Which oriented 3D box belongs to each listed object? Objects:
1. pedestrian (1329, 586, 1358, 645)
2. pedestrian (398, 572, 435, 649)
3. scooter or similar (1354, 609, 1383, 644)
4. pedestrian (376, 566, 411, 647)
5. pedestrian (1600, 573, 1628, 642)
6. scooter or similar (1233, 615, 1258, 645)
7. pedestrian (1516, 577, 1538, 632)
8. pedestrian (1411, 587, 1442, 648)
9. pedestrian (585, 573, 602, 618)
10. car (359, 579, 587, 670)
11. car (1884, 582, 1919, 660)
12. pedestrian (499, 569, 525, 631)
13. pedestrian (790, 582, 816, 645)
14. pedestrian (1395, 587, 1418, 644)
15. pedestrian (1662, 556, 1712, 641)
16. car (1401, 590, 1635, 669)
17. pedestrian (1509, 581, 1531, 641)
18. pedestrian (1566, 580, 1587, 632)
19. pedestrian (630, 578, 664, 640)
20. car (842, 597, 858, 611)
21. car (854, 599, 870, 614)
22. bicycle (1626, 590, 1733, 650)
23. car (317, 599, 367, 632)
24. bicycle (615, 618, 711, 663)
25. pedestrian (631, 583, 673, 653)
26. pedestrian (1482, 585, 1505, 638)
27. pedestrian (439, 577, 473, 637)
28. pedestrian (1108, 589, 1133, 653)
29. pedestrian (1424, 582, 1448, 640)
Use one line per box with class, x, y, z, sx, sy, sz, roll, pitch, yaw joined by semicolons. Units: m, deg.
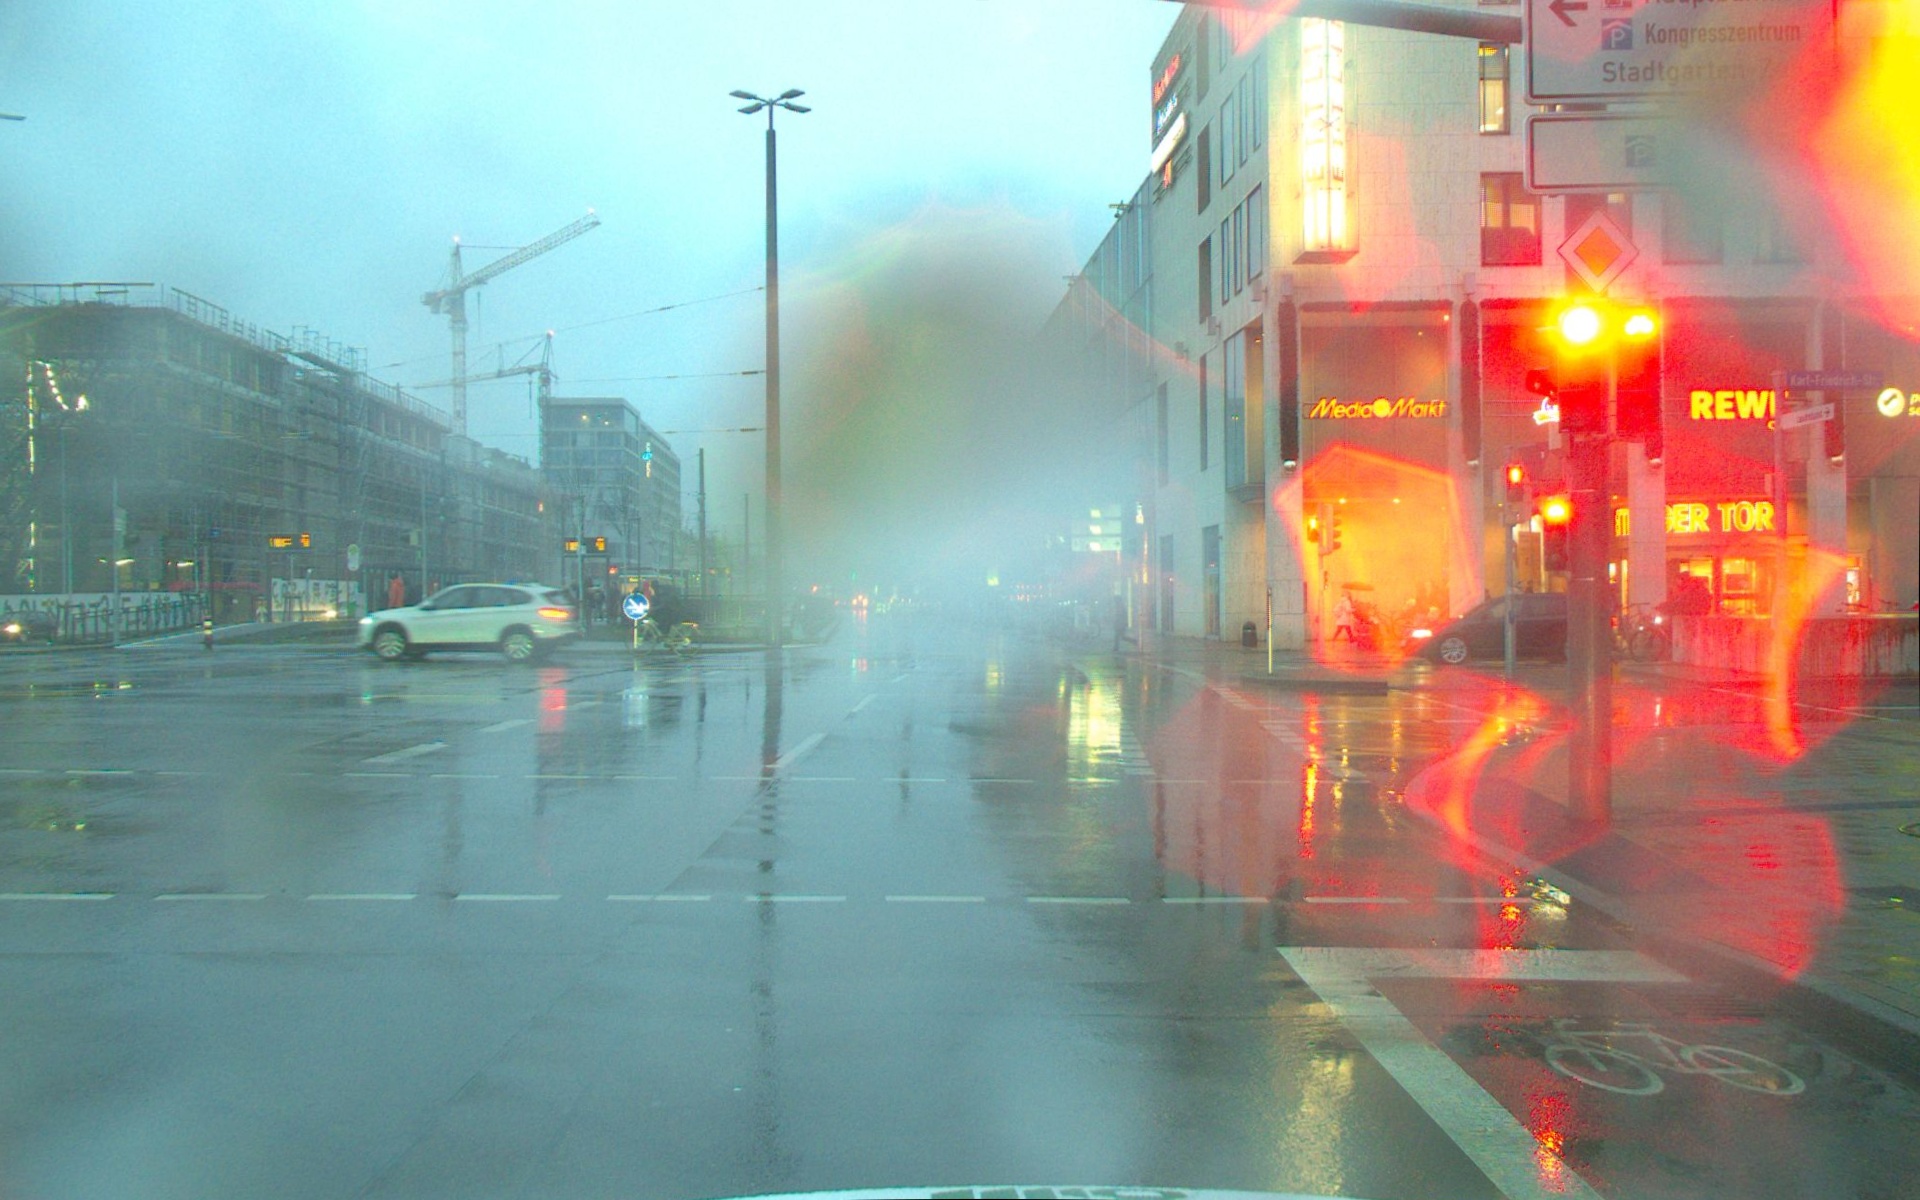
pedestrian;11.078;0.450;47.841;0.726;1.696;0.400;-1;0;-1
pedestrian;-14.593;0.269;44.424;0.770;2.049;0.604;-1;0;-39
scooter or similar;11.813;0.759;47.848;0.726;1.011;0.400;-1;0;-1
pedestrian;-14.892;0.169;43.494;0.682;2.124;0.604;0;0;-41
pedestrian;16.479;0.189;41.673;0.526;1.715;0.547;-1;0;37
scooter or similar;8.874;0.935;51.399;0.726;0.932;0.400;-1;0;0
pedestrian;18.205;0.140;53.108;0.526;1.748;0.500;-1;0;37
pedestrian;13.827;0.519;49.026;0.688;1.791;0.667;-1;0;-1
pedestrian;-14.595;-0.164;65.861;0.648;1.776;0.734;-1;0;-11
car;-10.090;0.483;34.483;4.216;1.792;1.706;-1;0;-2
car;21.501;0.409;34.528;3.498;1.610;1.675;-1;-1;-3
pedestrian;-13.087;-0.002;48.311;0.607;1.776;0.612;-1;0;-6
pedestrian;-4.503;0.378;47.440;0.688;1.791;0.652;-1;0;-1
pedestrian;13.619;0.471;50.467;0.526;1.748;0.500;-1;0;37
pedestrian;13.980;-0.027;31.810;0.764;1.623;0.613;-1;0;14
car;11.806;0.618;35.215;4.440;1.601;1.798;-1;0;7
pedestrian;16.803;0.320;49.599;0.501;1.791;0.374;-1;0;-1
pedestrian;20.820;0.203;55.875;0.526;1.748;0.500;-1;0;37
pedestrian;-8.762;0.257;46.269;0.814;1.709;0.619;-1;0;1
car;-14.684;0.557;220.429;1.850;1.814;3.713;1;-1;-1
car;-12.348;0.864;208.082;1.850;1.814;3.713;1;-1;-1
bicycle;13.847;0.384;31.861;1.806;1.112;0.618;-1;0;14
car;-40.268;0.991;107.873;1.954;2.049;3.996;-1;0;-5
bicycle;-6.814;0.939;37.992;2.083;1.009;0.542;0;-2;5
pedestrian;-7.079;0.411;38.025;0.797;1.597;0.537;-1;1;6
pedestrian;16.023;0.348;49.679;0.526;1.570;0.500;-1;0;37
pedestrian;-13.990;0.203;45.923;0.692;1.647;0.680;-1;0;0
pedestrian;4.562;0.602;47.040;0.620;1.803;0.483;-1;0;-2
pedestrian;14.466;0.334;50.282;0.526;1.748;0.500;-1;0;37
